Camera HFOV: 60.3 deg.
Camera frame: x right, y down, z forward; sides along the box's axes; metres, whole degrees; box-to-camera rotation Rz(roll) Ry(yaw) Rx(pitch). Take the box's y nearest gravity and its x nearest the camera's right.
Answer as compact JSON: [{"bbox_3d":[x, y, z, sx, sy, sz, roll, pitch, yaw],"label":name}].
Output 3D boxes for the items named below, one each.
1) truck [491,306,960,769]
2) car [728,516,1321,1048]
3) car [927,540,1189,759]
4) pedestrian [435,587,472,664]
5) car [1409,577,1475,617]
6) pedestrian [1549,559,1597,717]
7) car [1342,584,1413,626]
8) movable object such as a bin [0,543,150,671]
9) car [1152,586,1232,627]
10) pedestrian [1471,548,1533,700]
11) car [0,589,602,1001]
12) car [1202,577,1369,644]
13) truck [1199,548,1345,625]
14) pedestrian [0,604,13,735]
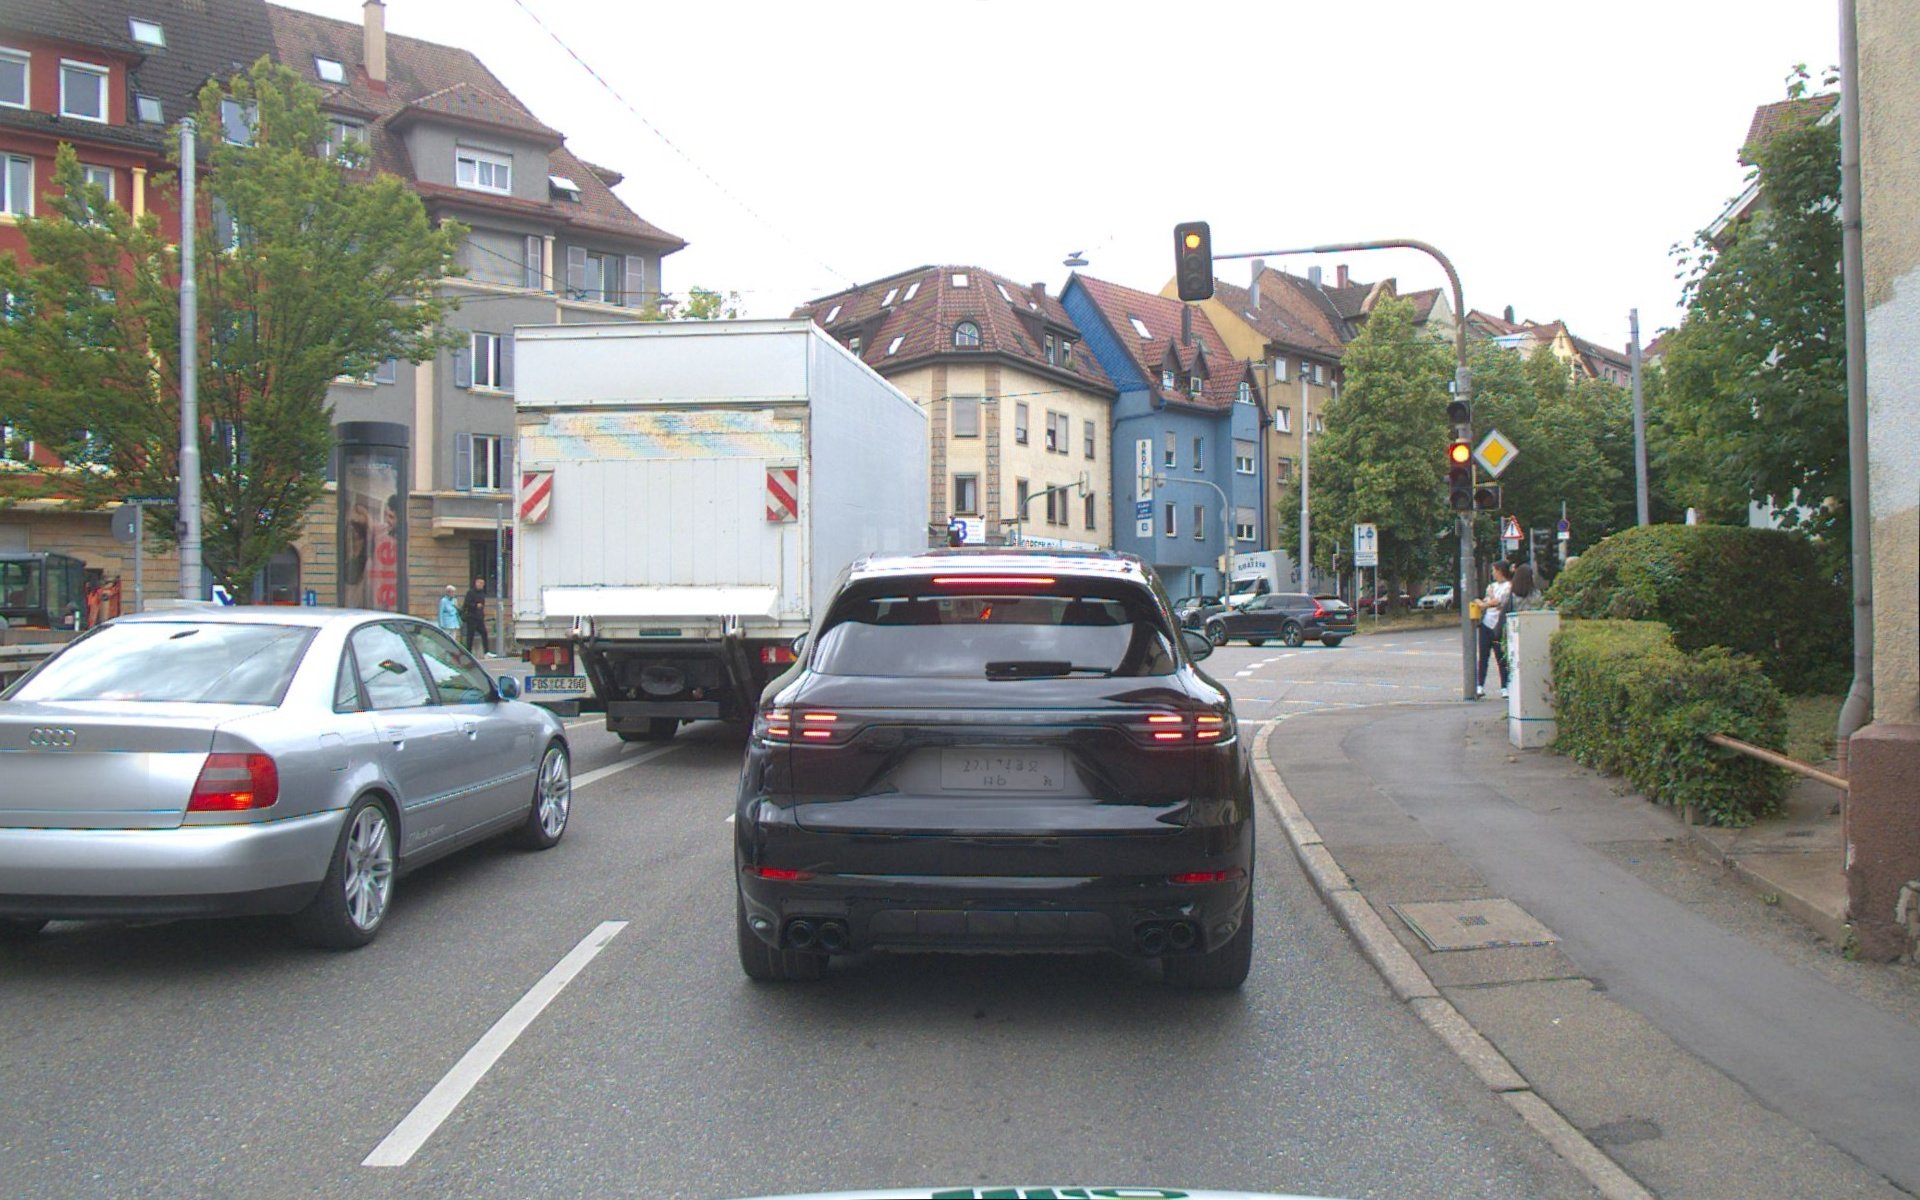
[{"bbox_3d":[-1.894,-0.545,17.156,2.710,3.637,8.071,0,1,8],"label":"truck"},{"bbox_3d":[0.100,0.560,7.385,1.939,1.713,3.997,0,1,-4],"label":"car"},{"bbox_3d":[1.036,0.389,15.070,1.951,1.713,4.003,0,0,10],"label":"car"},{"bbox_3d":[-10.644,0.536,34.793,0.577,1.594,0.486,2,-1,-1],"label":"pedestrian"},{"bbox_3d":[26.730,-0.162,91.715,1.965,2.049,3.975,2,0,42],"label":"car"},{"bbox_3d":[7.368,0.450,19.880,0.453,1.869,0.324,2,-1,14],"label":"pedestrian"},{"bbox_3d":[21.872,0.277,86.593,1.965,2.049,3.975,2,0,42],"label":"car"},{"bbox_3d":[-14.126,0.085,25.702,1.870,1.802,3.986,2,0,-14],"label":"movable object such as a bin"},{"bbox_3d":[10.125,0.268,71.953,1.958,1.713,3.988,0,0,33],"label":"car"},{"bbox_3d":[6.755,0.300,20.635,0.577,1.851,0.529,2,-1,6],"label":"pedestrian"},{"bbox_3d":[-3.140,0.673,7.965,1.660,1.397,4.180,0,1,4],"label":"car"},{"bbox_3d":[9.307,0.350,47.588,1.910,1.803,4.586,2,-2,-38],"label":"car"},{"bbox_3d":[14.981,-0.592,78.792,2.830,3.398,8.744,2,0,41],"label":"truck"},{"bbox_3d":[-13.281,0.939,22.562,0.537,1.760,0.586,2,-1,-35],"label":"pedestrian"}]
